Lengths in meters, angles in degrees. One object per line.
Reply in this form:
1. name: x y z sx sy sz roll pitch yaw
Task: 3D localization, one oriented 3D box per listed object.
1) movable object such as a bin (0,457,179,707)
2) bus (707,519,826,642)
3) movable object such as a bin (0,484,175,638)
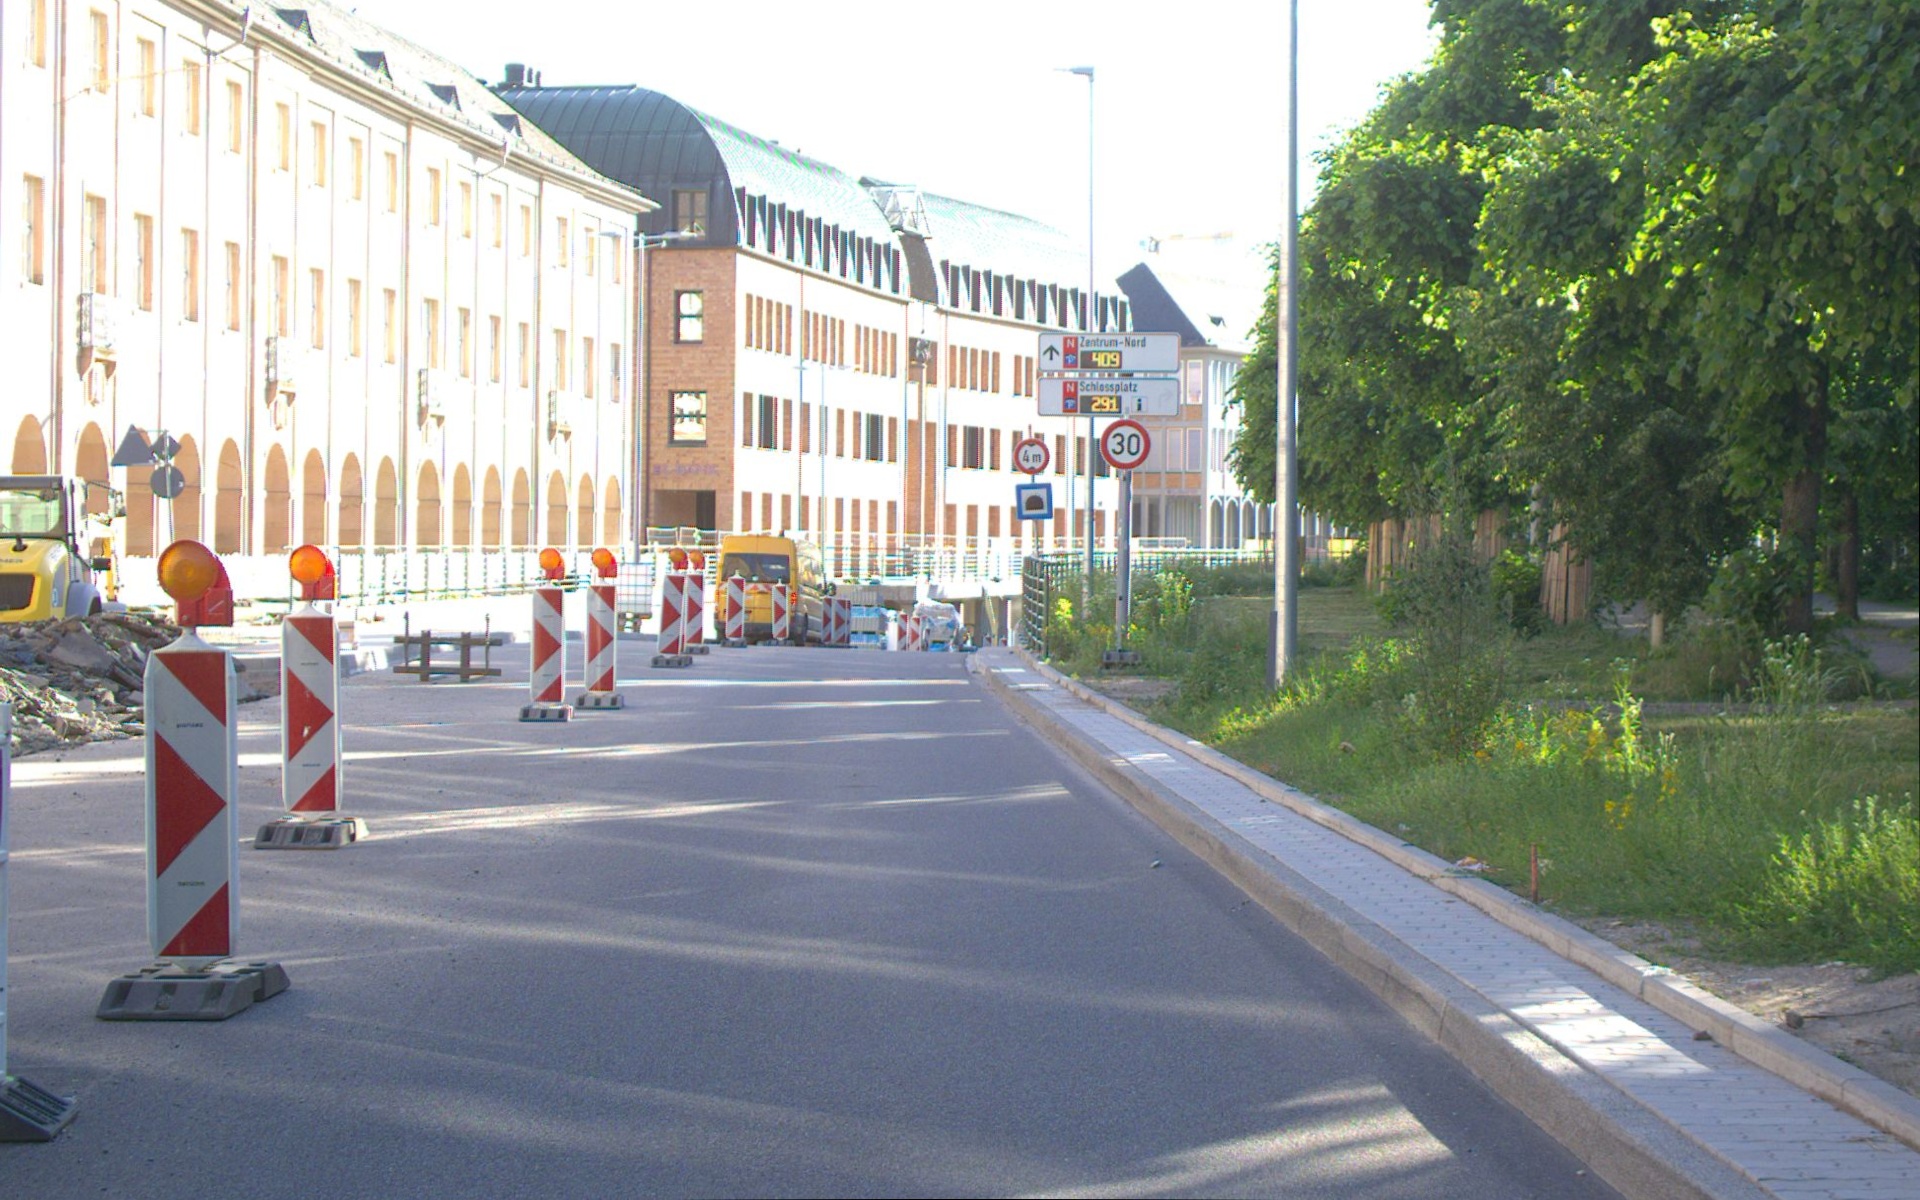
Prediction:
1. movable object such as a bin: -9.880 -0.272 36.396 2.074 2.467 4.617 1 2 1
2. bus: -4.428 -0.410 79.436 2.073 2.677 4.682 1 -1 5
3. movable object such as a bin: -14.414 -0.637 54.812 2.546 2.340 4.459 1 1 3
